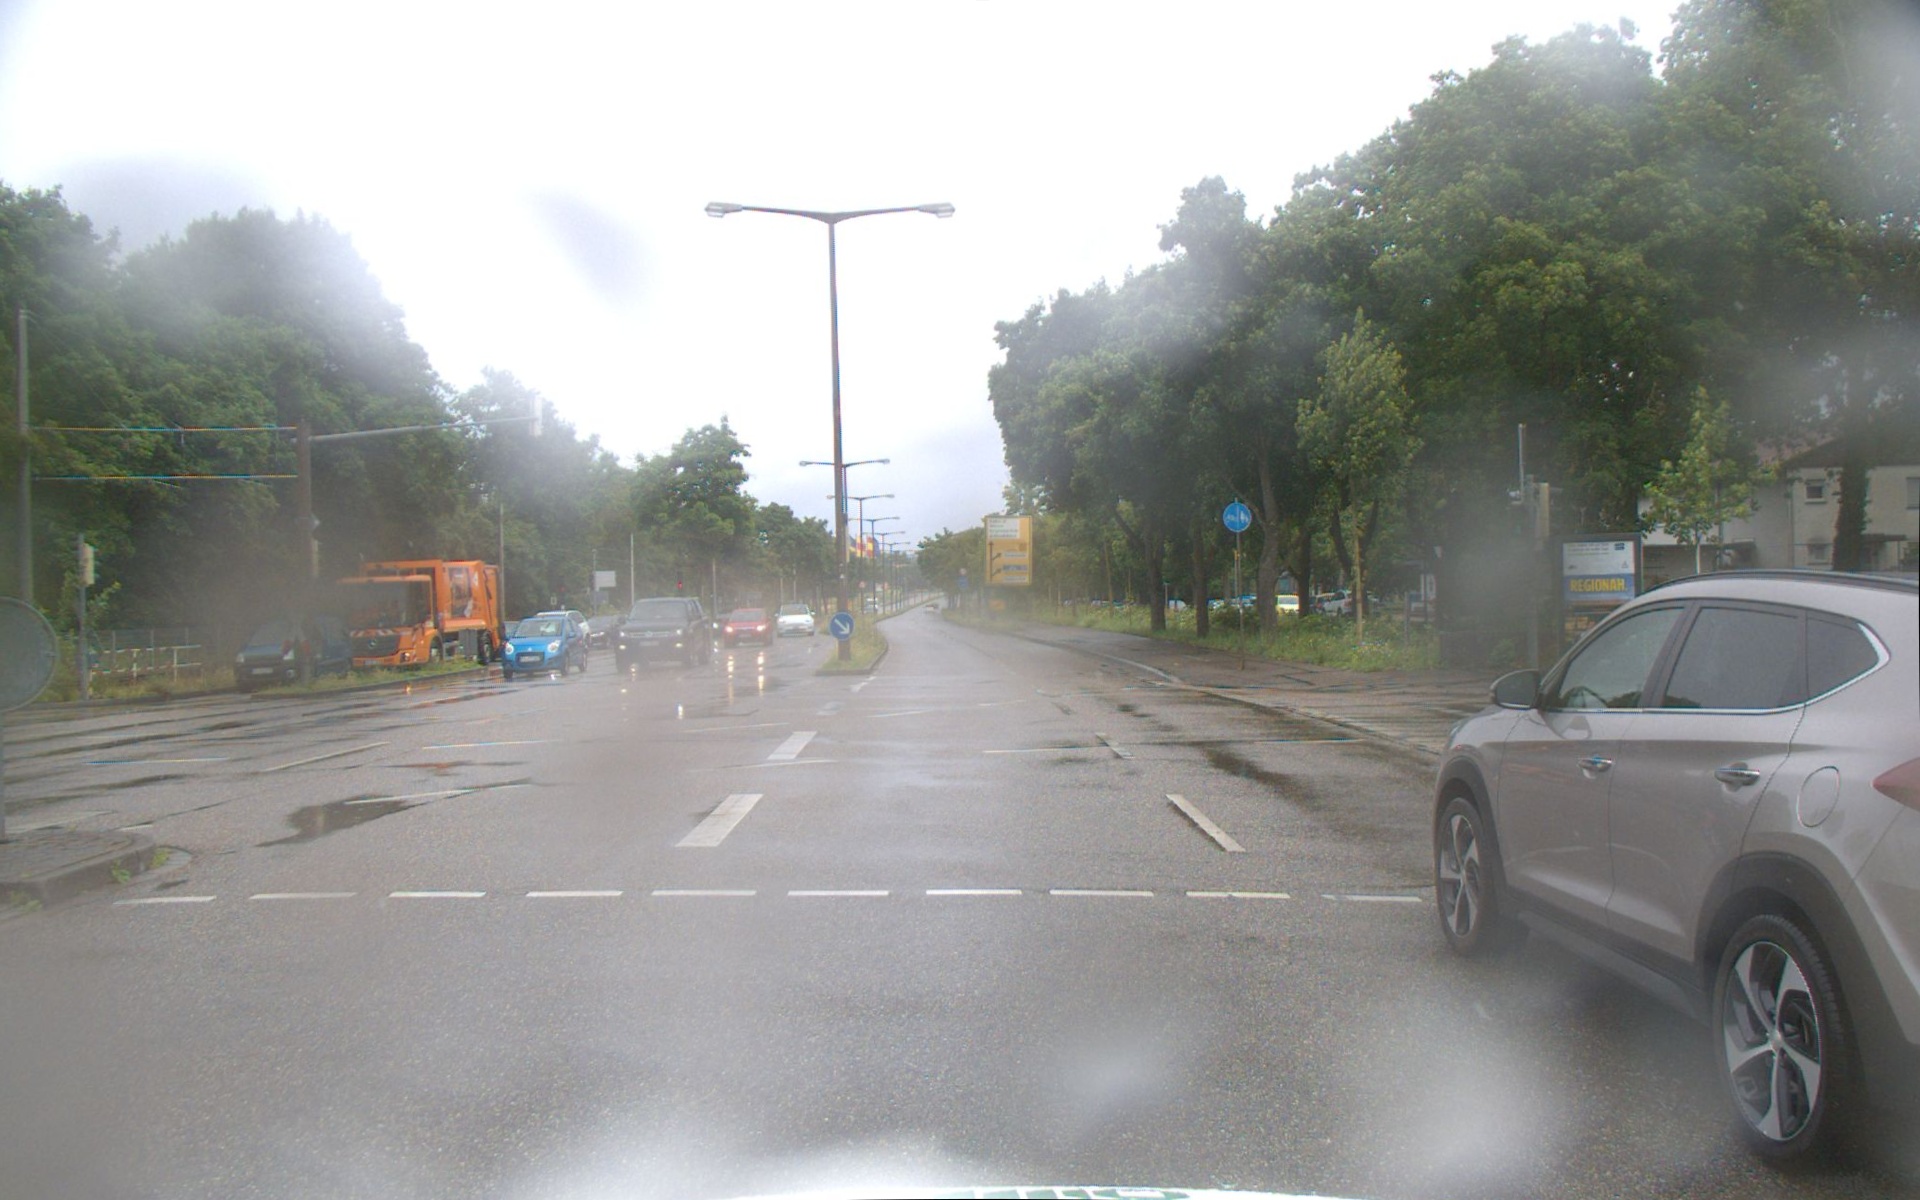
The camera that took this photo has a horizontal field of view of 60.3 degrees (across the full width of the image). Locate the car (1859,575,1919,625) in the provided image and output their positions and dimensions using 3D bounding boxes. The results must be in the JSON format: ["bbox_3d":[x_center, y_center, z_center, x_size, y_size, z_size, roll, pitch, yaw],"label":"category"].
[{"bbox_3d":[29.682,0.025,51.879,3.723,1.474,1.578,1,-1,-44],"label":"car"}]

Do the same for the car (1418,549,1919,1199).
[{"bbox_3d":[3.126,0.705,5.740,1.846,1.638,4.194,1,0,-1],"label":"car"}]

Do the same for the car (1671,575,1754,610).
[{"bbox_3d":[30.863,-0.289,67.948,1.541,1.339,3.699,0,-1,-4],"label":"car"}]

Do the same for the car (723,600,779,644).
[{"bbox_3d":[-8.311,0.885,66.070,1.765,1.597,4.426,-3,-1,-2],"label":"car"}]

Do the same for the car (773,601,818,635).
[{"bbox_3d":[-8.552,0.932,86.173,1.921,1.645,4.695,-2,0,-2],"label":"car"}]

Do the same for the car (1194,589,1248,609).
[{"bbox_3d":[23.514,-0.088,148.983,4.482,1.674,1.997,1,-1,-7],"label":"car"}]

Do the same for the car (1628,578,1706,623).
[{"bbox_3d":[24.251,0.042,56.686,1.637,1.474,3.736,0,-1,37],"label":"car"}]

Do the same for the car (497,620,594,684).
[{"bbox_3d":[-10.535,1.291,42.315,1.608,1.452,3.997,-3,-1,-3],"label":"car"}]

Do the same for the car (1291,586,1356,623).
[{"bbox_3d":[18.298,0.270,83.411,1.954,1.747,4.638,-2,-1,-3],"label":"car"}]

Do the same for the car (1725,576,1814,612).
[{"bbox_3d":[33.327,-0.227,68.226,1.552,1.410,3.997,1,-1,-4],"label":"car"}]

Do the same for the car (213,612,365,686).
[{"bbox_3d":[-16.735,1.181,41.518,1.953,1.739,4.526,0,-1,0],"label":"car"}]

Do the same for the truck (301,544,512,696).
[{"bbox_3d":[-16.948,0.641,51.653,3.316,4.240,10.402,0,-1,-2],"label":"truck"}]

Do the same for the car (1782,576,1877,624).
[{"bbox_3d":[28.008,0.029,53.246,3.723,1.474,1.643,1,-1,-44],"label":"car"}]

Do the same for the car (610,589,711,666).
[{"bbox_3d":[-7.772,0.684,43.339,1.769,1.804,5.087,-3,0,-2],"label":"car"}]

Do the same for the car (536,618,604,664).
[{"bbox_3d":[-16.579,1.713,70.467,1.954,1.859,4.768,1,-1,-3],"label":"car"}]

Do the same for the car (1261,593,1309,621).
[{"bbox_3d":[17.912,0.394,91.297,1.605,1.512,4.070,1,-1,-3],"label":"car"}]

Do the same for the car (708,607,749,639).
[{"bbox_3d":[-13.098,1.305,93.877,1.672,1.670,4.330,-3,0,-1],"label":"car"}]

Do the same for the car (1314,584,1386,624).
[{"bbox_3d":[18.268,0.212,77.769,1.954,1.747,4.875,-2,-1,-3],"label":"car"}]

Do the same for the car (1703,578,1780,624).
[{"bbox_3d":[26.241,0.043,55.488,1.637,1.474,3.736,0,-1,37],"label":"car"}]

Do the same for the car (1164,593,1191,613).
[{"bbox_3d":[17.468,0.250,132.846,1.709,1.470,4.123,-2,1,1],"label":"car"}]
